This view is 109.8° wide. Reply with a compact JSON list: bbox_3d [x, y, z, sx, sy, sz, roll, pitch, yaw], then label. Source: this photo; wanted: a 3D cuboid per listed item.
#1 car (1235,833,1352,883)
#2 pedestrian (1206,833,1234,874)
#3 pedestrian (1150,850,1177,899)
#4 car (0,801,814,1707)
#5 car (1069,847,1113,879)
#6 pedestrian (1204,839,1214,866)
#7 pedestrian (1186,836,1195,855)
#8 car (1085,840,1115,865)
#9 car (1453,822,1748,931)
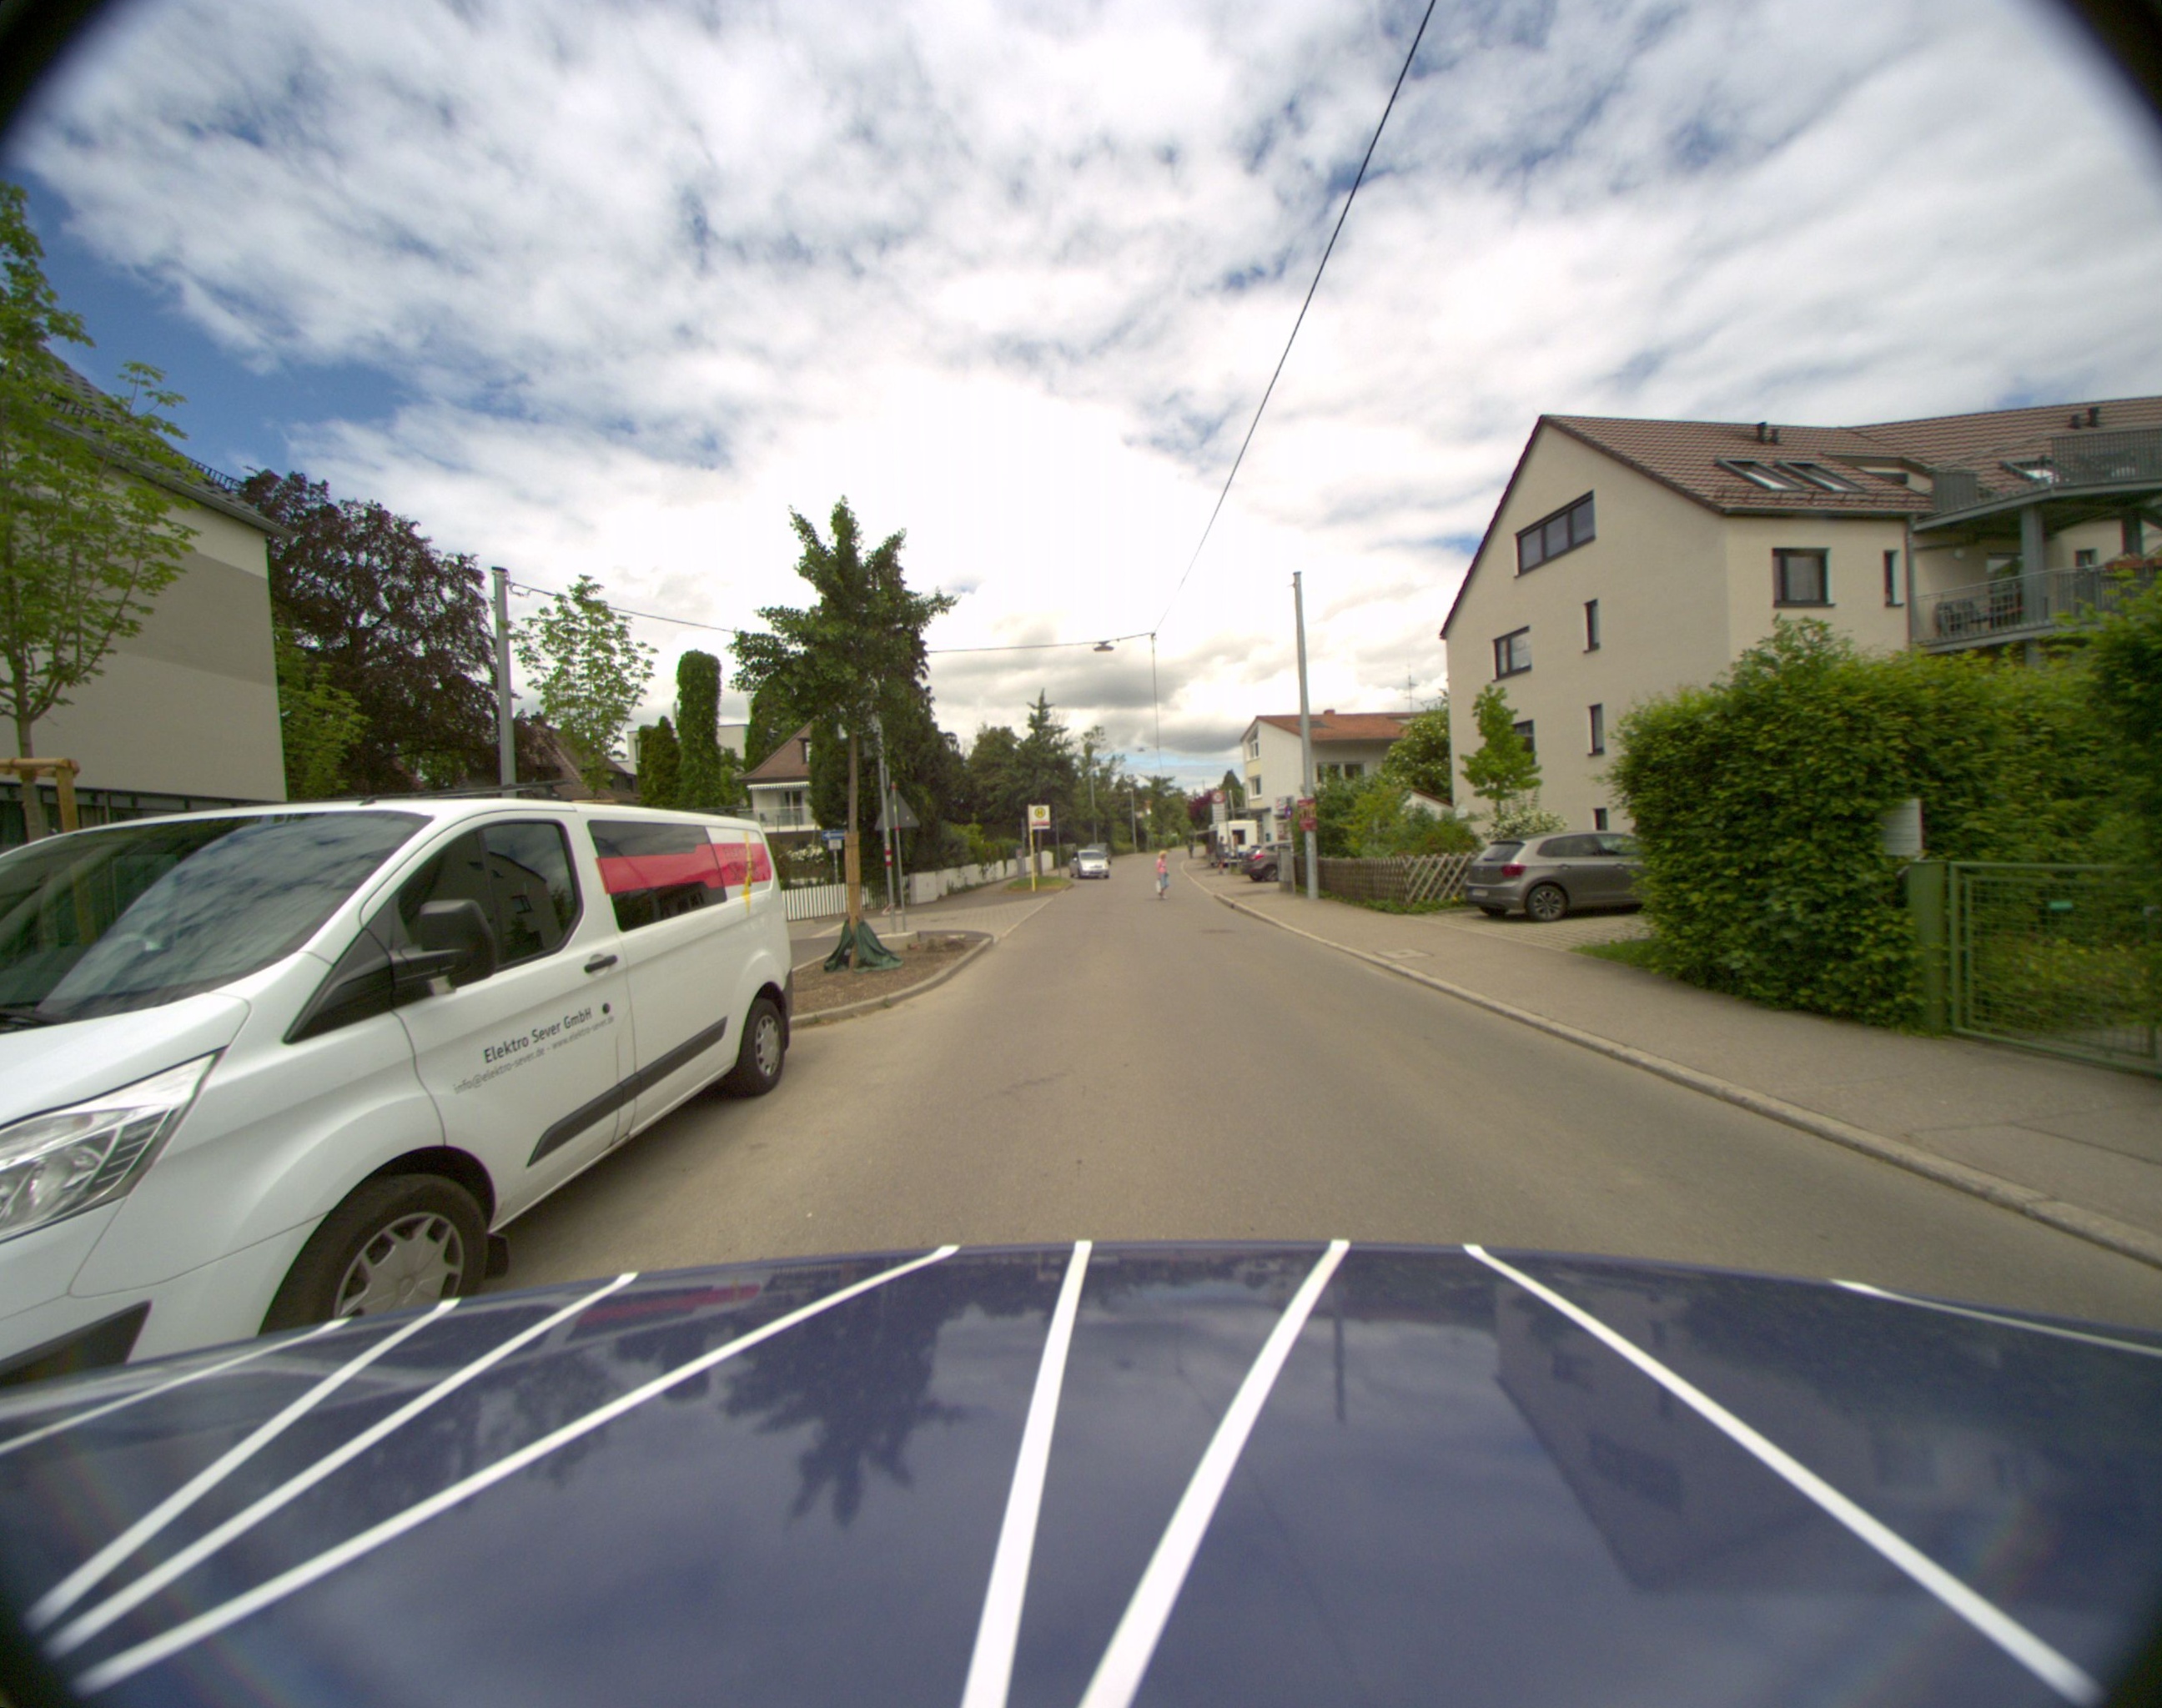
[{"bbox_3d":[8.975,0.149,32.307,4.324,1.686,1.796,-5,1,-7],"label":"car"},{"bbox_3d":[7.007,-0.017,38.293,1.216,1.935,0.735,-5,2,8],"label":"pedestrian"},{"bbox_3d":[2.813,0.682,25.888,0.856,1.636,0.884,1,2,5],"label":"pedestrian"},{"bbox_3d":[-3.140,0.884,3.583,1.963,1.905,4.900,-5,1,-1],"label":"car"},{"bbox_3d":[0.504,0.455,42.513,1.765,1.573,4.014,-2,2,-10],"label":"car"},{"bbox_3d":[8.202,-0.111,48.738,0.402,1.685,0.597,-5,2,3],"label":"pedestrian"},{"bbox_3d":[10.678,-0.810,73.796,0.724,1.679,1.108,-5,7,8],"label":"pedestrian"},{"bbox_3d":[1.678,-0.178,64.421,1.913,1.838,5.159,-3,1,8],"label":"car"},{"bbox_3d":[8.643,0.338,12.913,3.680,1.426,1.817,-5,1,2],"label":"car"}]
